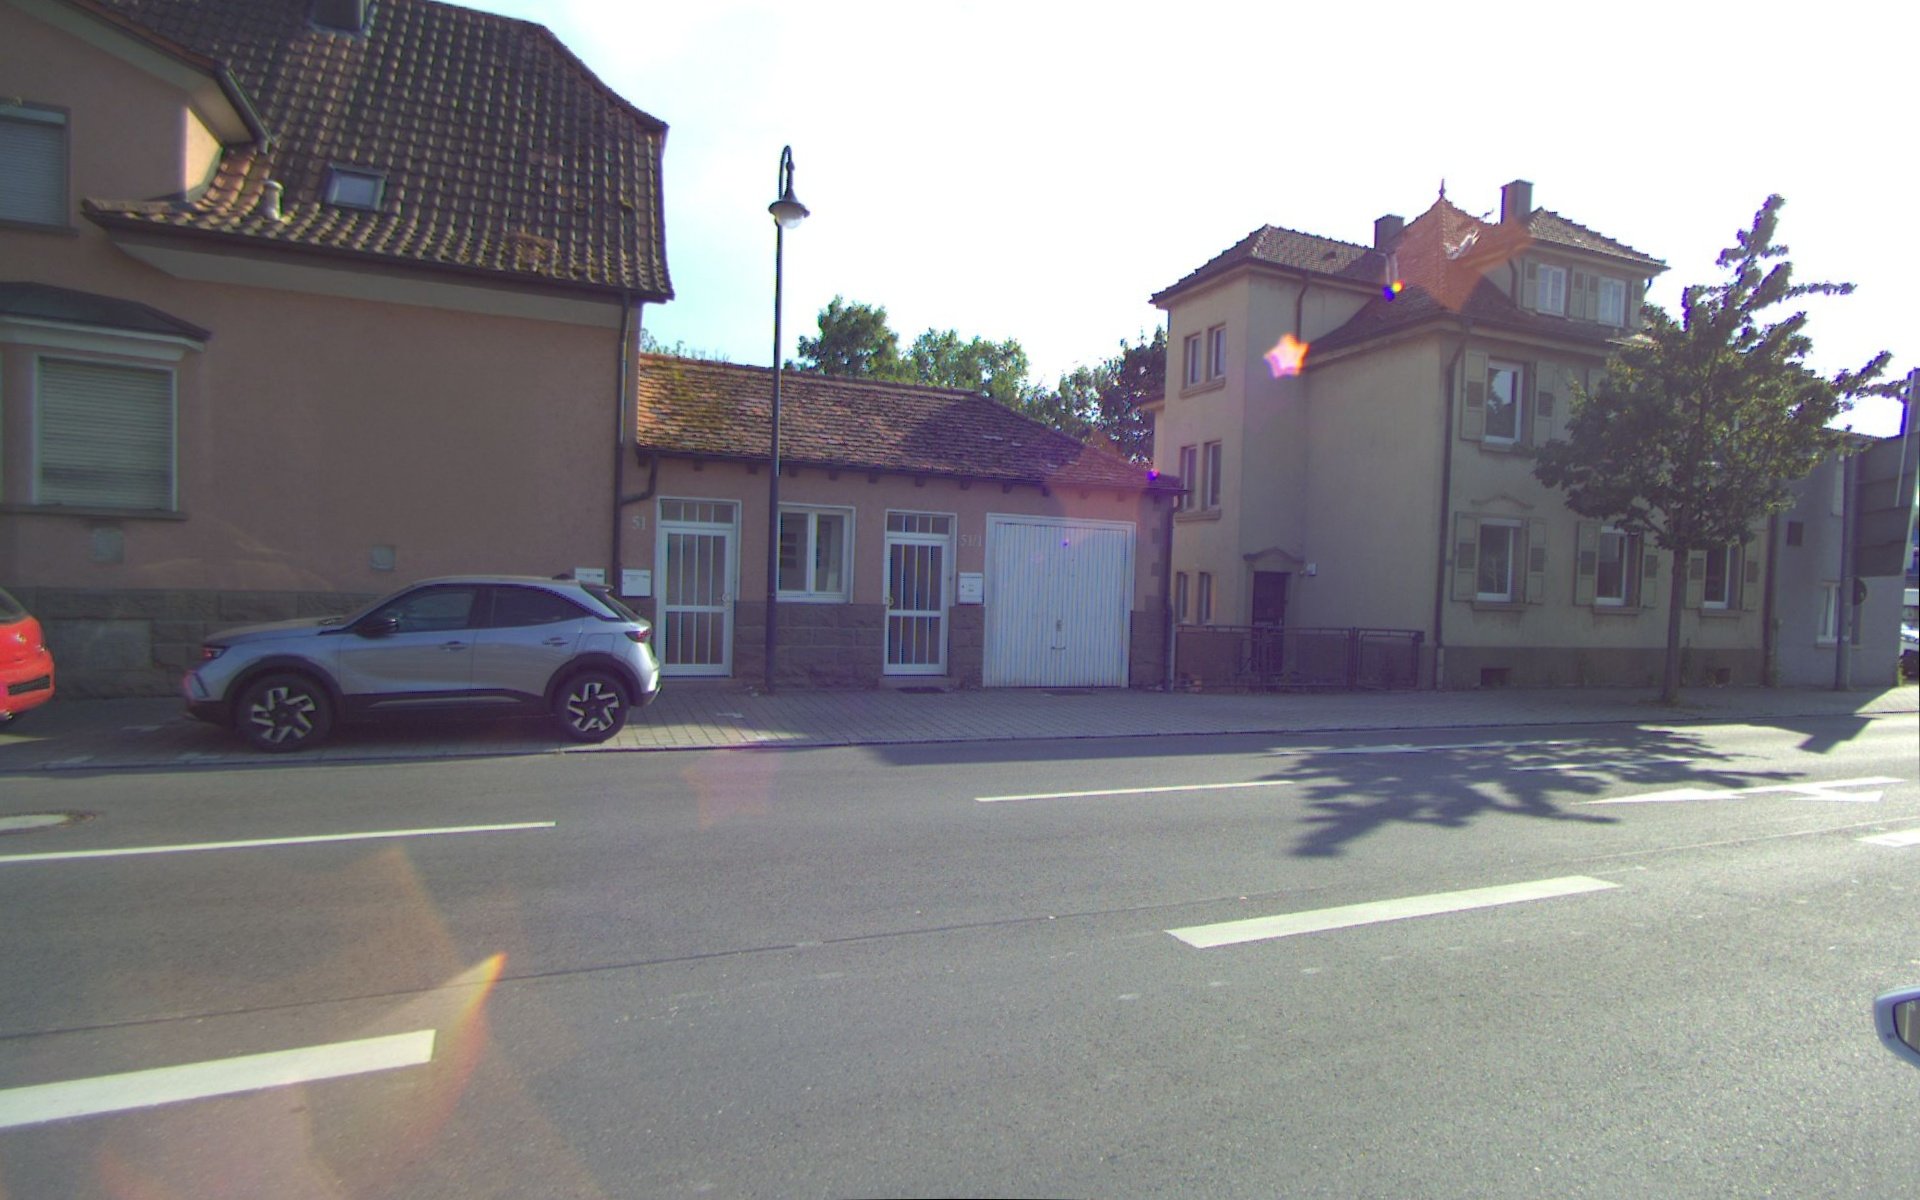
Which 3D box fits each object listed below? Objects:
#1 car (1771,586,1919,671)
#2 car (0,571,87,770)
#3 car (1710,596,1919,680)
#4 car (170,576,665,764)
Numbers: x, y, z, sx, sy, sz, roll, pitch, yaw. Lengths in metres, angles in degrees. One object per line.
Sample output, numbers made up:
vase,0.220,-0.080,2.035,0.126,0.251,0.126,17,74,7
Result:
car,29.531,0.861,31.565,2.163,2.513,5.904,1,1,-24
car,-9.695,0.505,7.885,3.942,1.507,1.662,2,3,-22
car,24.477,0.991,28.356,1.909,2.026,4.960,1,1,-25
car,-5.037,0.598,9.890,3.942,1.499,1.752,1,3,-22
